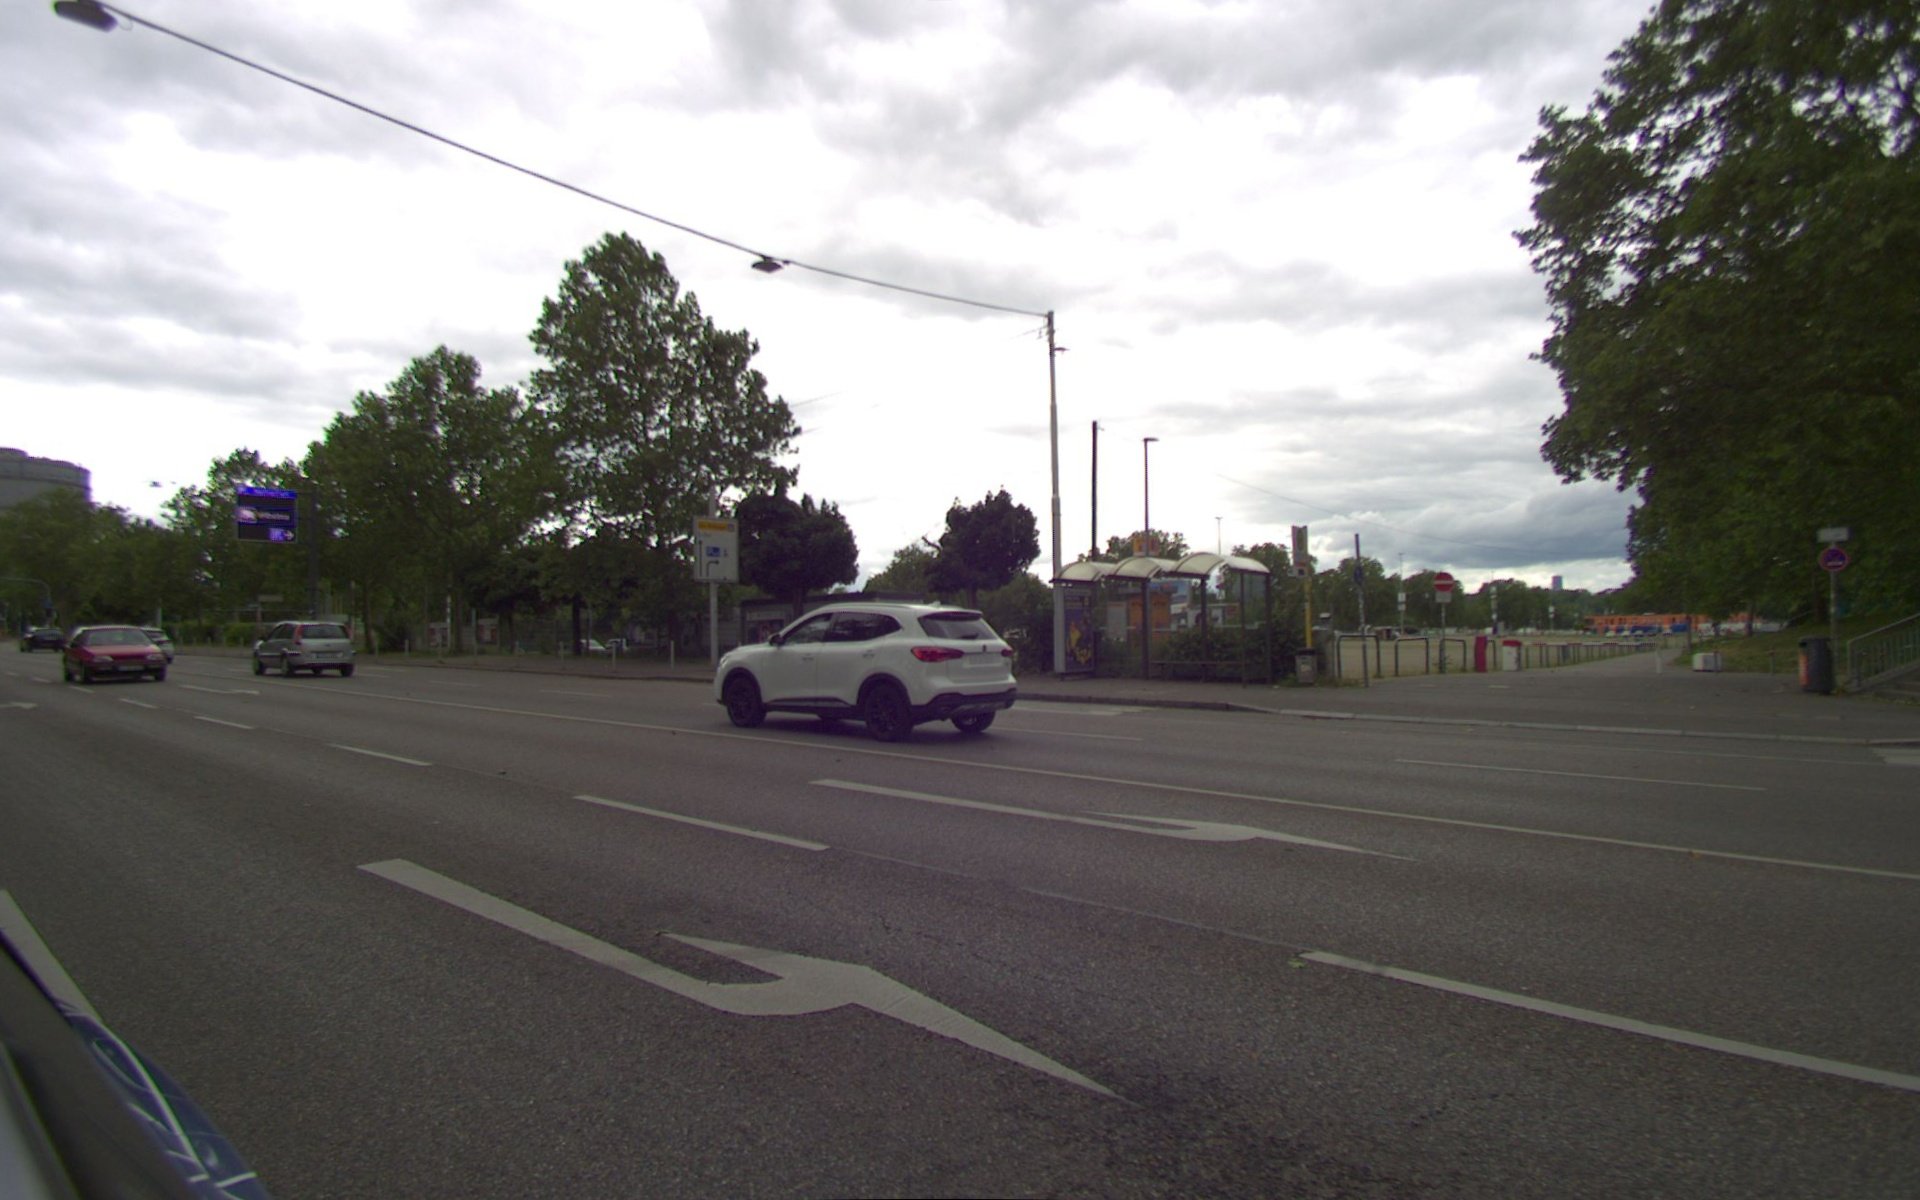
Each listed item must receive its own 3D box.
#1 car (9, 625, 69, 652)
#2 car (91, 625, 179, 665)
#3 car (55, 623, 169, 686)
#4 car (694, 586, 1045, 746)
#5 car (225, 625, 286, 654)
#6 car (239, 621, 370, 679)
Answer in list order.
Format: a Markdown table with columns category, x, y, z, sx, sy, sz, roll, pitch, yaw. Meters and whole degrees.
| category | x | y | z | sx | sy | sz | roll | pitch | yaw |
| --- | --- | --- | --- | --- | --- | --- | --- | --- | --- |
| car | -54.422 | 2.293 | 59.775 | 4.722 | 1.542 | 1.973 | -2 | -3 | 40 |
| car | -33.011 | 1.772 | 40.447 | 4.382 | 1.542 | 1.973 | -2 | -2 | 40 |
| car | -21.908 | 1.352 | 26.092 | 4.077 | 1.463 | 1.808 | -2 | -1 | 43 |
| car | -1.318 | 0.790 | 13.402 | 4.591 | 1.758 | 1.973 | -1 | -3 | 40 |
| car | -51.883 | 2.913 | 74.500 | 4.628 | 2.029 | 2.364 | -2 | -3 | 37 |
| car | -18.596 | 1.375 | 28.681 | 3.996 | 1.537 | 1.974 | -1 | -2 | 39 |
